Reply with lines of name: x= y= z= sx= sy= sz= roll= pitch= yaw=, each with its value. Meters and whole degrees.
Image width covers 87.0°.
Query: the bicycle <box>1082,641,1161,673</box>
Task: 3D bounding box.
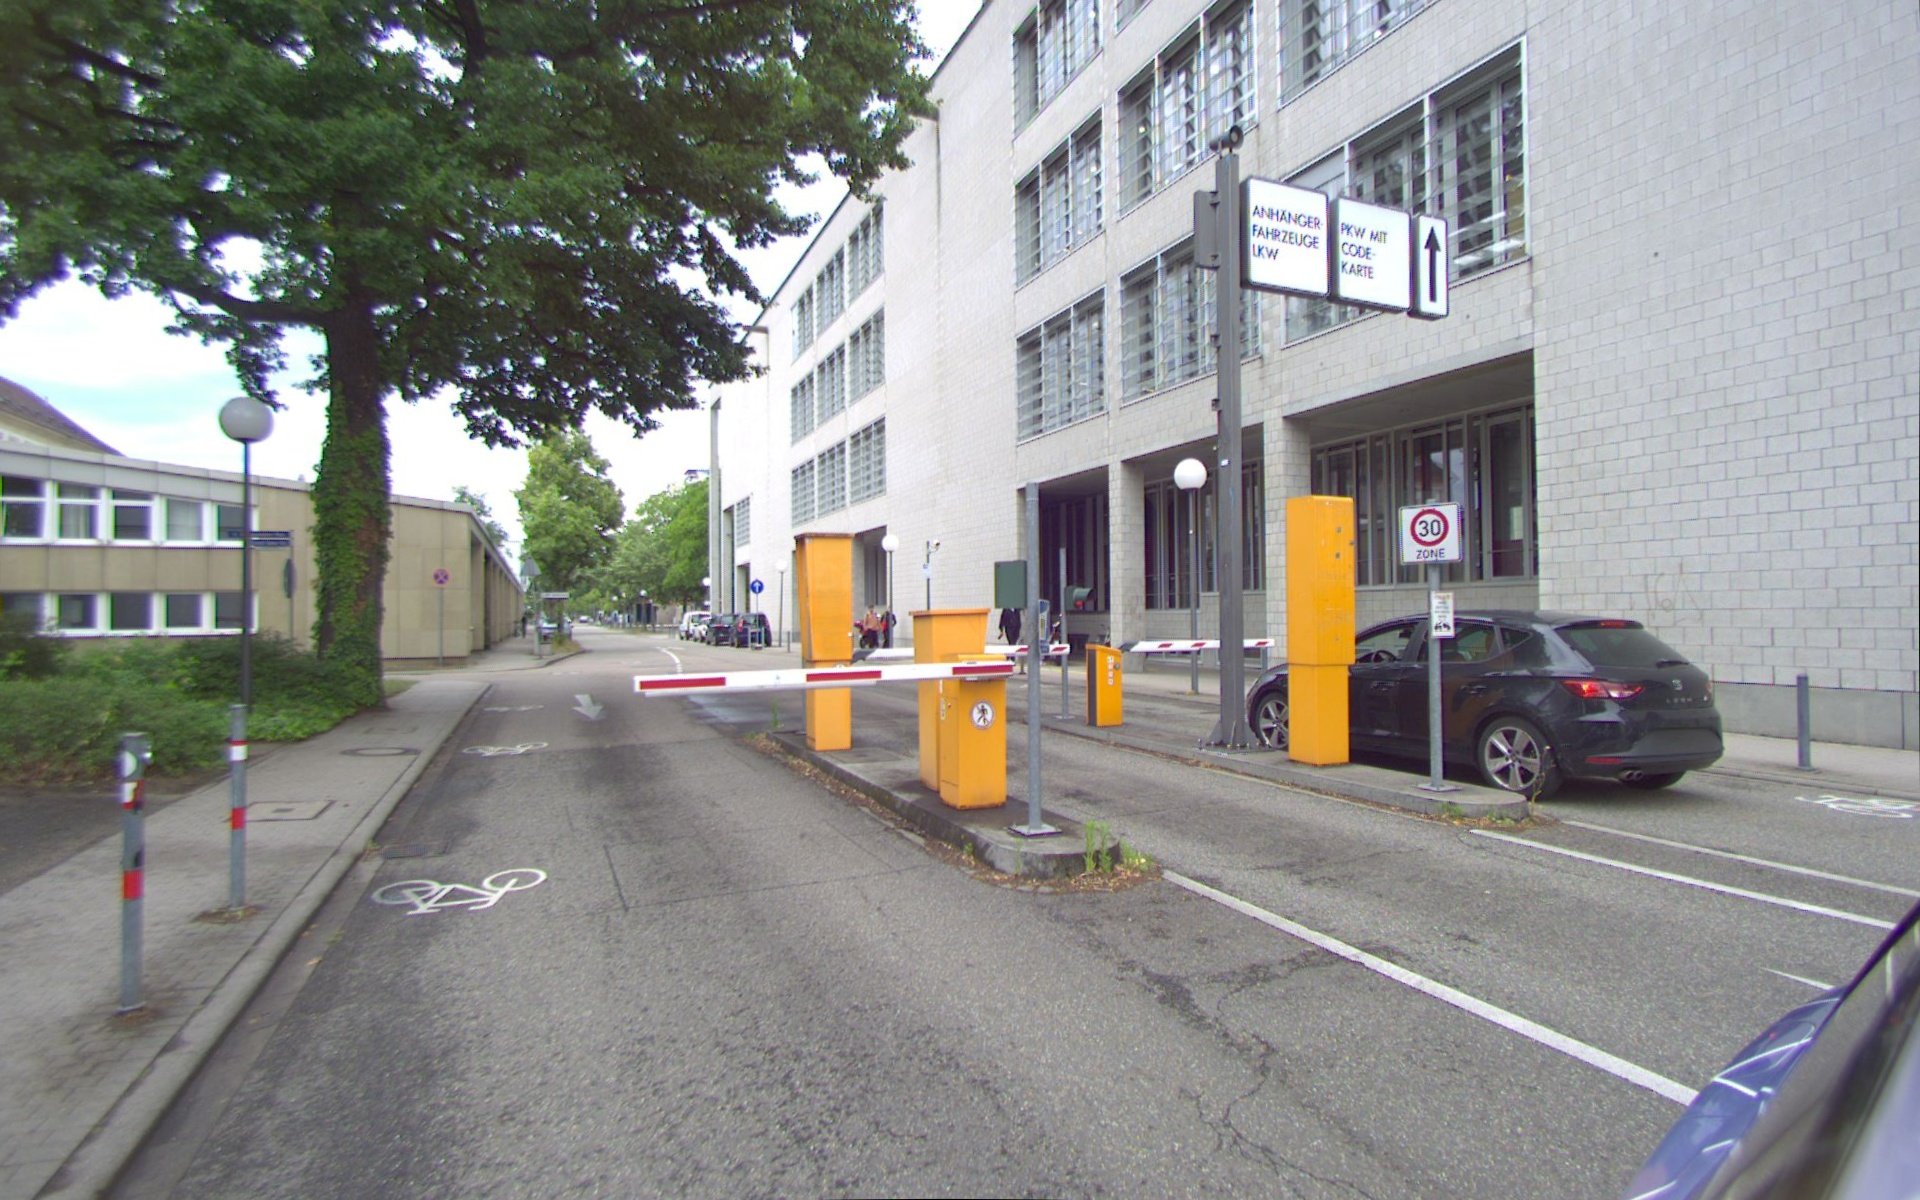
bicycle: x=3.804 y=1.336 z=23.791 sx=1.863 sy=0.707 sz=0.494 roll=1 pitch=1 yaw=-26

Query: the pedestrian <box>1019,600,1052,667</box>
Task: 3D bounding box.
pedestrian: x=1.972 y=0.869 z=26.481 sx=0.576 sy=1.720 sz=0.693 roll=2 pitch=1 yaw=-17

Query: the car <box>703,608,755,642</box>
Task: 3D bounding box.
car: x=-12.173 y=1.289 z=53.139 sx=1.958 sy=1.643 sz=4.436 roll=-1 pitch=0 yaw=-23

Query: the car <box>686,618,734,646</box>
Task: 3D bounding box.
car: x=-14.430 y=1.802 z=58.330 sx=1.958 sy=1.482 sz=4.435 roll=-1 pitch=0 yaw=-23

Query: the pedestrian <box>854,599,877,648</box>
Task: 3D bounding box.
pedestrian: x=-3.308 y=0.823 z=35.505 sx=0.684 sy=1.736 sz=0.490 roll=1 pitch=-1 yaw=-18

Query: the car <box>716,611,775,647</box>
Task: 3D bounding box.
car: x=-10.426 y=1.391 z=48.948 sx=1.958 sy=1.643 sz=4.435 roll=-1 pitch=-1 yaw=-23

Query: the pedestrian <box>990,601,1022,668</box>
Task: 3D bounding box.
pedestrian: x=1.217 y=0.906 z=26.830 sx=0.601 sy=1.736 sz=0.575 roll=0 pitch=-1 yaw=-26

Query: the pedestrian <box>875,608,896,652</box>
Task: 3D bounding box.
pedestrian: x=-2.661 y=1.079 z=36.004 sx=0.632 sy=1.546 sz=0.473 roll=1 pitch=-1 yaw=-21

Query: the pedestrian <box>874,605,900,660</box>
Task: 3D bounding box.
pedestrian: x=-2.294 y=1.022 z=31.944 sx=0.684 sy=1.736 sz=0.490 roll=1 pitch=-2 yaw=-23

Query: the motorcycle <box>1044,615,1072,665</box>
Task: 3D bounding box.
motorcycle: x=2.571 y=1.023 z=26.726 sx=0.557 sy=1.162 sz=2.216 roll=2 pitch=1 yaw=2

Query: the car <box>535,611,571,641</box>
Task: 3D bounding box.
car: x=-22.871 y=1.412 z=56.804 sx=1.739 sy=1.621 sz=4.007 roll=1 pitch=-1 yaw=-24

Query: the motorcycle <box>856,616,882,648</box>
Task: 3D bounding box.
motorcycle: x=-3.775 y=1.316 z=42.088 sx=0.747 sy=1.162 sz=2.662 roll=2 pitch=1 yaw=2

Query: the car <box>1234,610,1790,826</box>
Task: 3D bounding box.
car: x=4.476 y=0.814 z=8.995 sx=1.751 sy=1.437 sz=4.136 roll=1 pitch=-1 yaw=-23

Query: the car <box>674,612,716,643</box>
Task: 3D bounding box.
car: x=-16.914 y=1.709 z=64.510 sx=1.958 sy=1.804 sz=4.435 roll=-1 pitch=0 yaw=-23
